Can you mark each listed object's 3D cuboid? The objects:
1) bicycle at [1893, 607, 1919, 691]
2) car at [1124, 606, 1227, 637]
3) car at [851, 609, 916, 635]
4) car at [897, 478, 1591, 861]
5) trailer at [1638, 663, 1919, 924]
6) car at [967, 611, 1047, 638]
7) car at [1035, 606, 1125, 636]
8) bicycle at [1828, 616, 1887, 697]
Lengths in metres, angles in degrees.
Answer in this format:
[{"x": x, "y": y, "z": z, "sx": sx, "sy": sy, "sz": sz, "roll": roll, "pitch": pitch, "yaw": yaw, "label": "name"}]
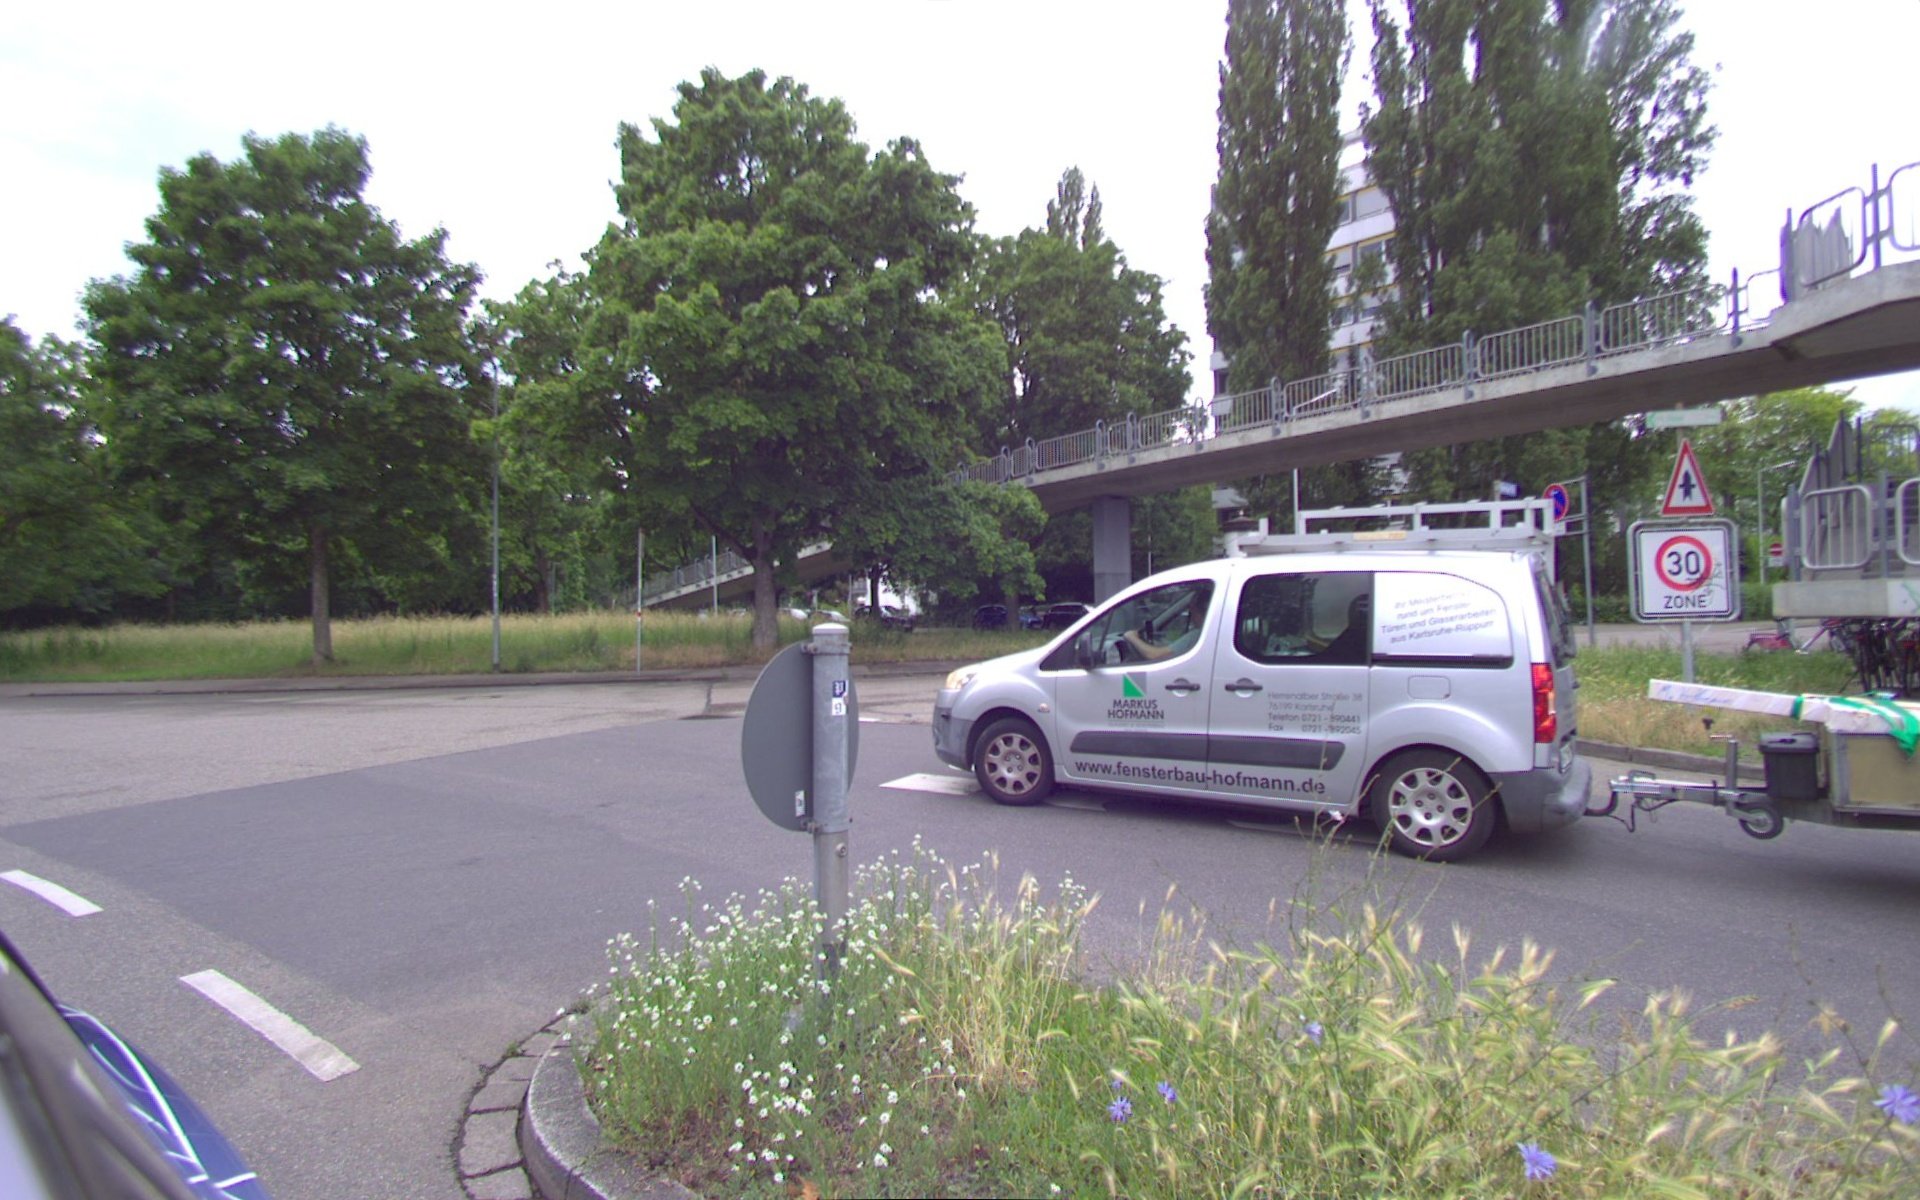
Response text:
[{"x": 11.099, "y": 0.544, "z": 11.672, "sx": 1.618, "sy": 0.892, "sz": 0.395, "roll": -1, "pitch": -1, "yaw": -44, "label": "bicycle"}, {"x": 8.880, "y": 0.888, "z": 41.943, "sx": 1.667, "sy": 1.214, "sz": 4.007, "roll": -1, "pitch": 0, "yaw": -39, "label": "car"}, {"x": -4.388, "y": 1.251, "z": 57.460, "sx": 1.667, "sy": 1.361, "sz": 4.007, "roll": -1, "pitch": 0, "yaw": -39, "label": "car"}, {"x": 1.843, "y": 0.317, "z": 7.020, "sx": 4.212, "sy": 1.871, "sz": 2.070, "roll": 0, "pitch": 1, "yaw": 35, "label": "car"}, {"x": 5.099, "y": 0.847, "z": 4.470, "sx": 3.457, "sy": 0.993, "sz": 1.553, "roll": -2, "pitch": 0, "yaw": 35, "label": "trailer"}, {"x": 2.280, "y": 1.180, "z": 49.888, "sx": 1.667, "sy": 1.247, "sz": 4.007, "roll": -1, "pitch": 0, "yaw": -39, "label": "car"}, {"x": 5.430, "y": 0.948, "z": 46.175, "sx": 1.667, "sy": 1.256, "sz": 4.007, "roll": -1, "pitch": 0, "yaw": -39, "label": "car"}, {"x": 10.822, "y": 0.655, "z": 12.193, "sx": 1.618, "sy": 0.892, "sz": 0.395, "roll": -1, "pitch": -1, "yaw": -44, "label": "bicycle"}]
